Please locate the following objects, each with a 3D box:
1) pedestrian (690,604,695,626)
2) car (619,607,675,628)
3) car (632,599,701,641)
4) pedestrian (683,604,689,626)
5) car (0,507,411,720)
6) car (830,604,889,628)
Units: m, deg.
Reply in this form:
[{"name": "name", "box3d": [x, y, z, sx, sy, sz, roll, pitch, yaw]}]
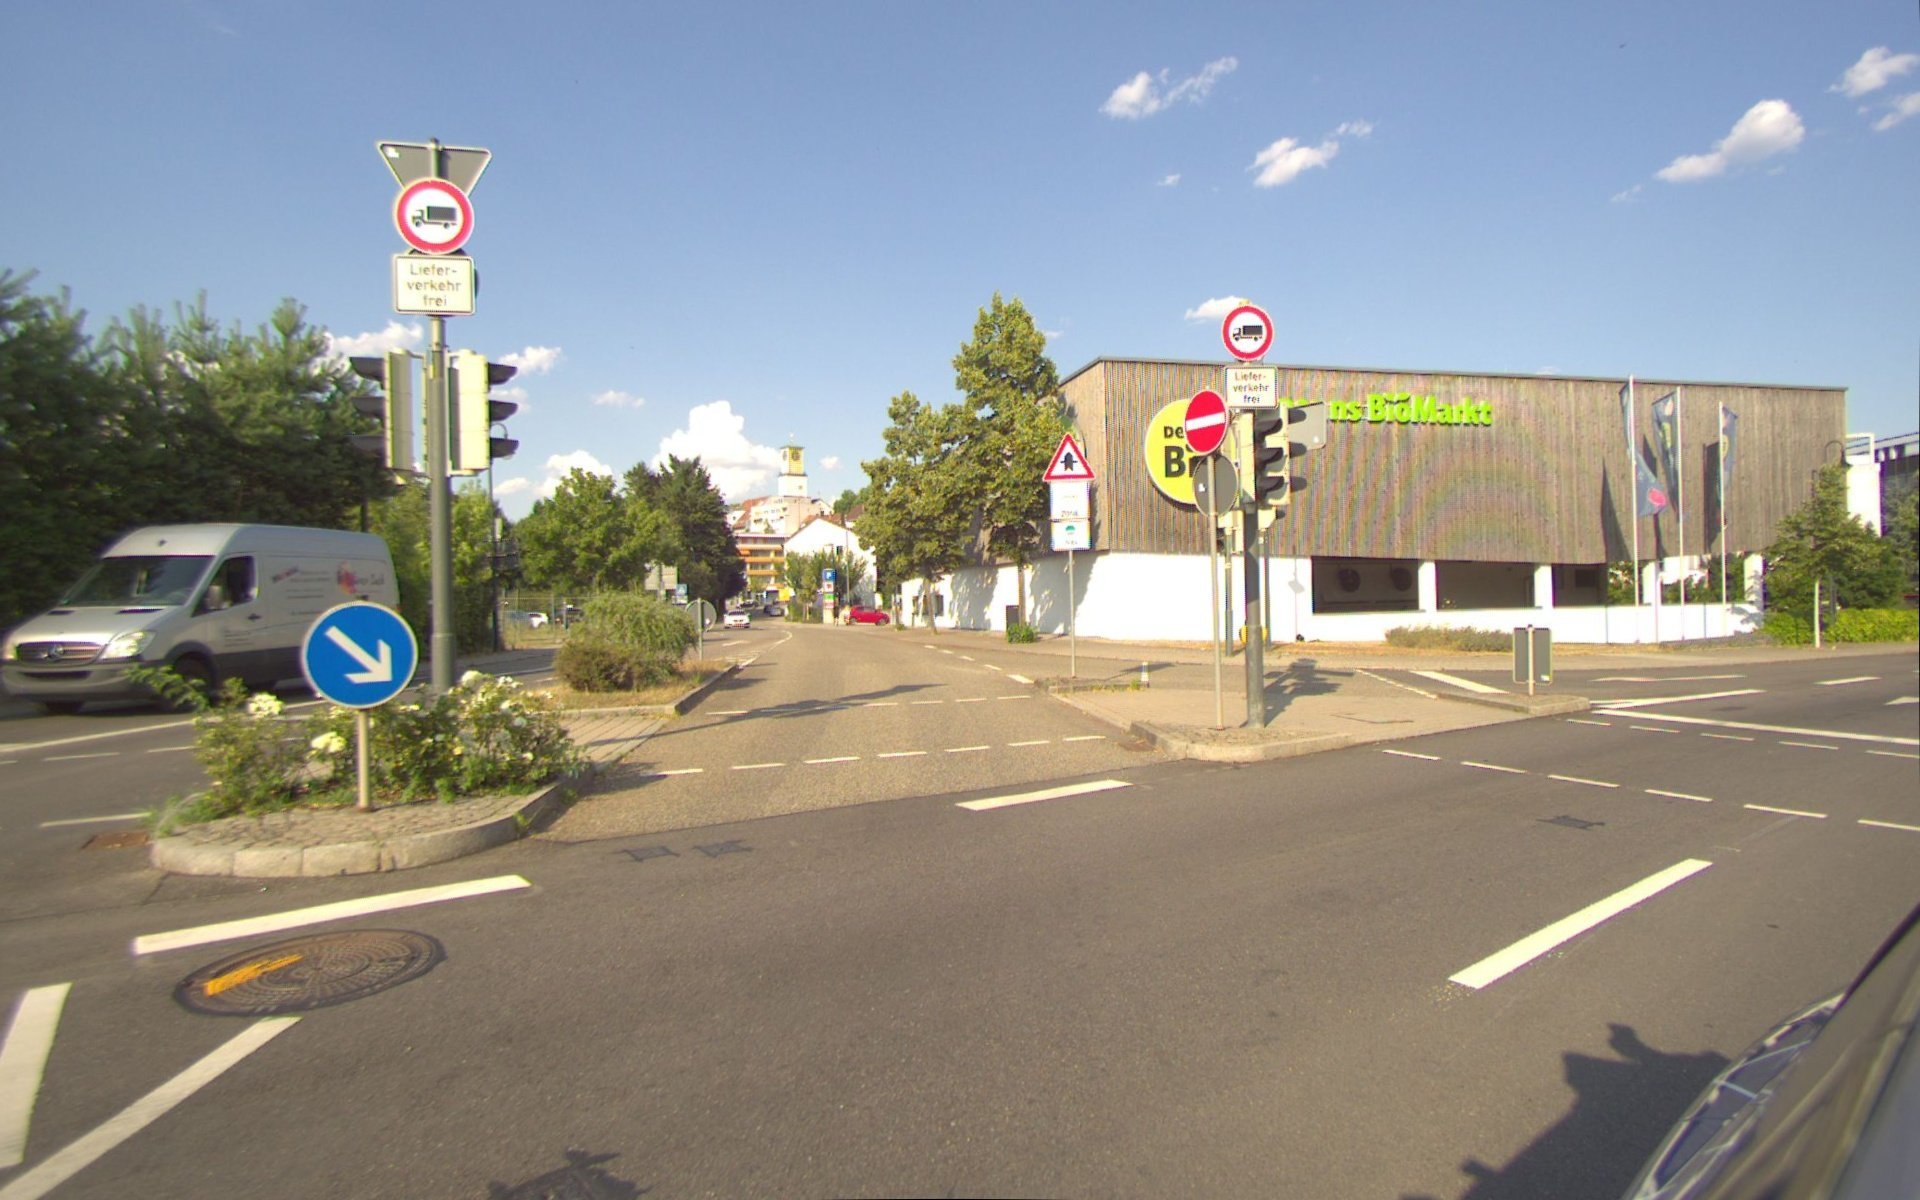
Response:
[{"name": "pedestrian", "box3d": [-22.793, 1.270, 86.285, 0.406, 1.896, 0.343, -1, 1, -15]}, {"name": "car", "box3d": [-24.937, 1.414, 80.763, 4.225, 1.473, 1.899, -1, 2, -15]}, {"name": "car", "box3d": [-10.940, 0.718, 37.981, 1.820, 1.471, 4.005, 0, 0, -7]}, {"name": "pedestrian", "box3d": [-23.336, 1.270, 86.121, 0.412, 1.896, 0.343, -1, 1, -15]}, {"name": "car", "box3d": [-11.018, 0.131, 15.172, 2.154, 2.553, 5.855, 0, 0, 3]}, {"name": "car", "box3d": [-7.683, 1.197, 76.956, 4.225, 1.745, 1.899, 0, 0, -15]}]
